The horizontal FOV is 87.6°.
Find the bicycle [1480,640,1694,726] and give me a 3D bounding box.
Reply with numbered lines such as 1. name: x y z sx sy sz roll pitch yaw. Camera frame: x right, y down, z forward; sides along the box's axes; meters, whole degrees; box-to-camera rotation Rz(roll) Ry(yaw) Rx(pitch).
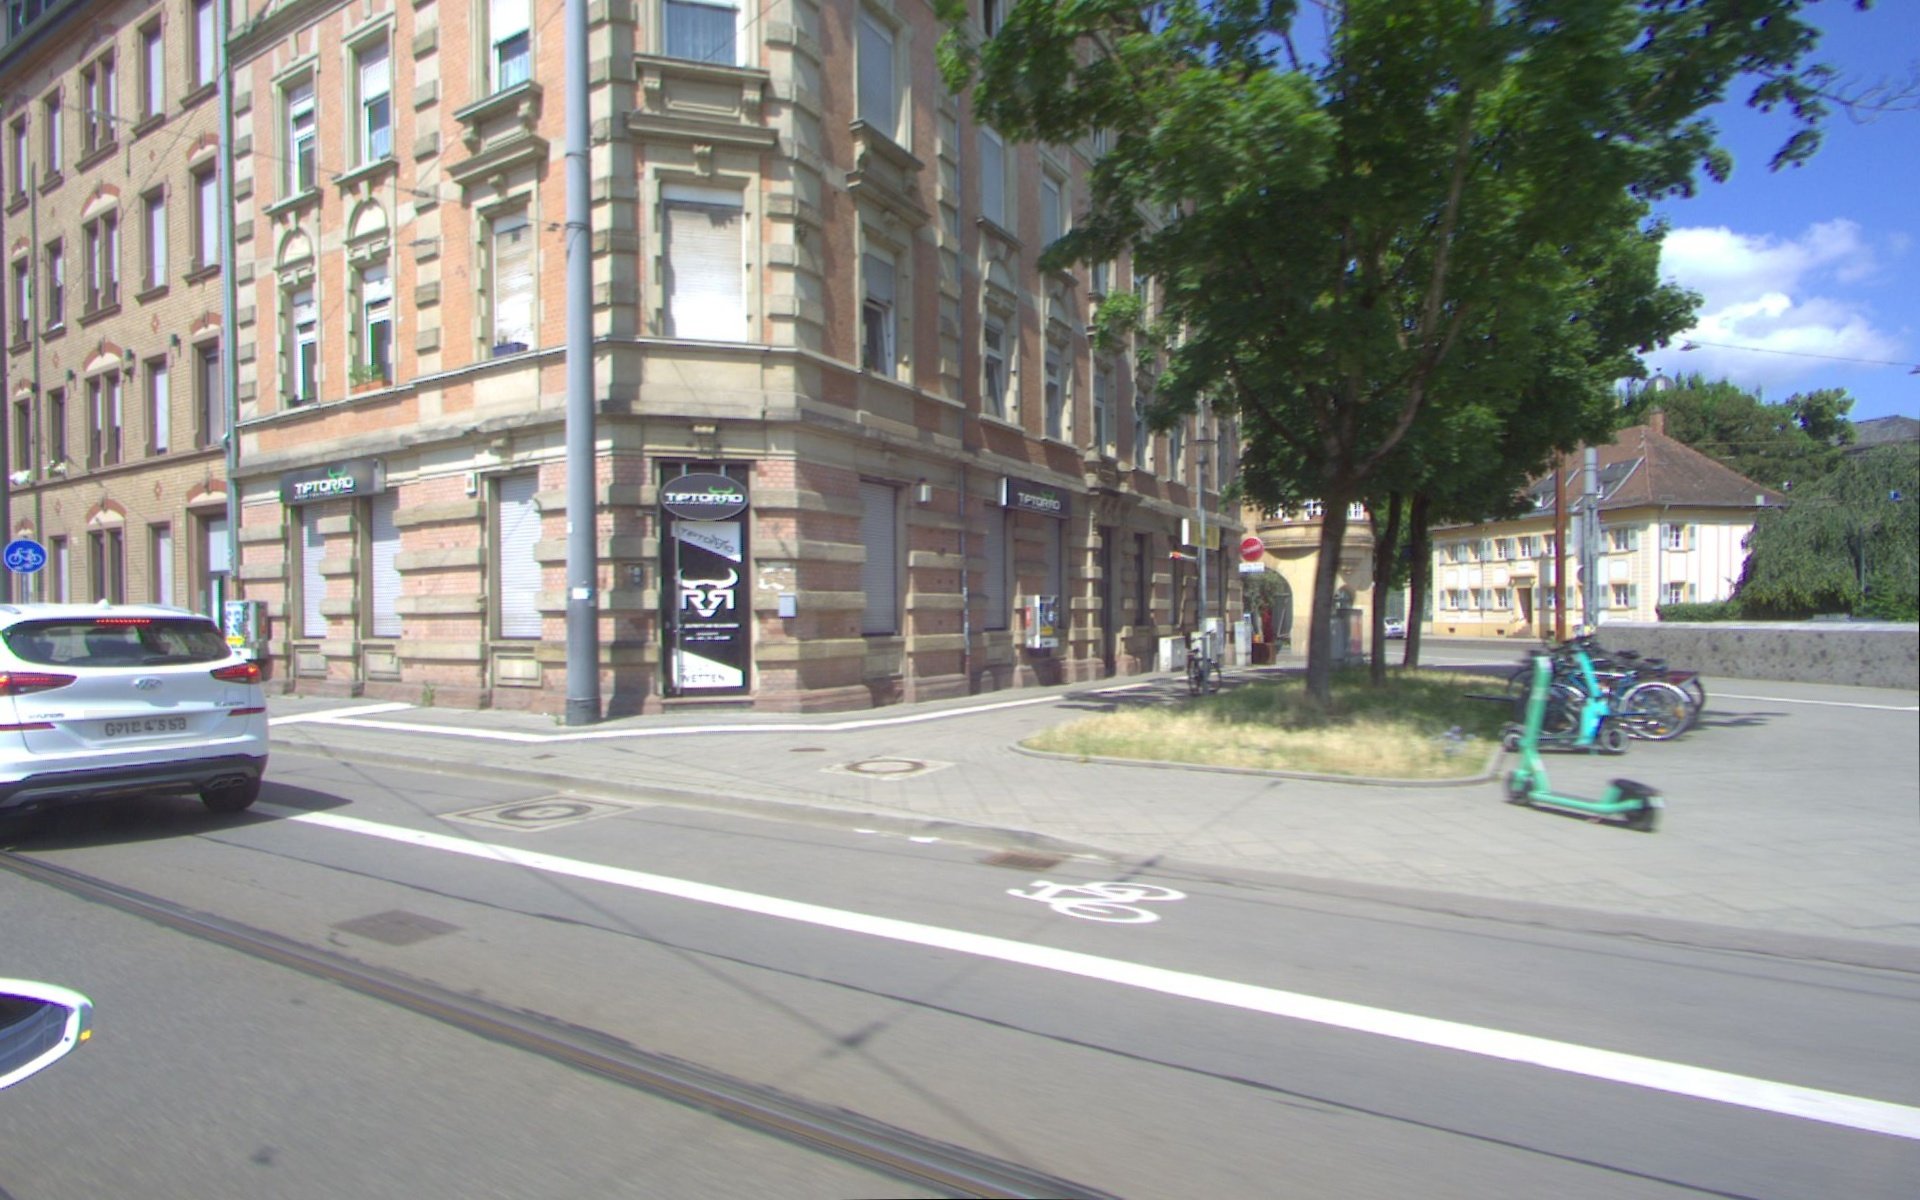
1. bicycle: 8.933 1.146 14.372 2.538 1.084 0.789 -1 1 34

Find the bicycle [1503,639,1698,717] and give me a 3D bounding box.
1. bicycle: 10.023 1.187 15.768 2.538 1.105 0.789 -1 1 34

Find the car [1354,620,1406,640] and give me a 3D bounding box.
1. car: 30.146 2.138 72.001 1.650 1.405 3.793 0 -1 -10

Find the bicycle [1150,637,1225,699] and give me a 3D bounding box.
1. bicycle: 4.315 1.261 18.929 0.755 1.064 1.640 0 0 39

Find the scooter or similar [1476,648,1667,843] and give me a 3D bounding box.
1. scooter or similar: 4.378 0.973 7.158 1.072 1.195 0.944 0 1 38

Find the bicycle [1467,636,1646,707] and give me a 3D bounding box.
1. bicycle: 9.979 1.170 16.827 2.538 1.068 0.789 -1 1 34

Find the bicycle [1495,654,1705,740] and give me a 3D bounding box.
1. bicycle: 8.404 1.239 13.241 2.256 0.892 0.839 1 2 34

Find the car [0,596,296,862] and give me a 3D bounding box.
1. car: -7.326 0.848 7.991 4.120 1.655 1.849 -1 -2 32

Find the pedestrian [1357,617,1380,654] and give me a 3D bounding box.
1. pedestrian: 17.912 1.542 43.890 0.852 1.557 0.900 2 2 26

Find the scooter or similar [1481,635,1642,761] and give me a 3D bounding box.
1. scooter or similar: 6.358 1.005 10.681 1.367 1.219 0.947 -1 1 25

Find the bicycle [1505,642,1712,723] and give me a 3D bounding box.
1. bicycle: 9.619 1.190 14.969 2.538 1.068 0.789 -1 1 34

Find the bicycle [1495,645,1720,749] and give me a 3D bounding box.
1. bicycle: 7.878 1.135 12.287 2.232 1.096 1.022 -1 1 34
